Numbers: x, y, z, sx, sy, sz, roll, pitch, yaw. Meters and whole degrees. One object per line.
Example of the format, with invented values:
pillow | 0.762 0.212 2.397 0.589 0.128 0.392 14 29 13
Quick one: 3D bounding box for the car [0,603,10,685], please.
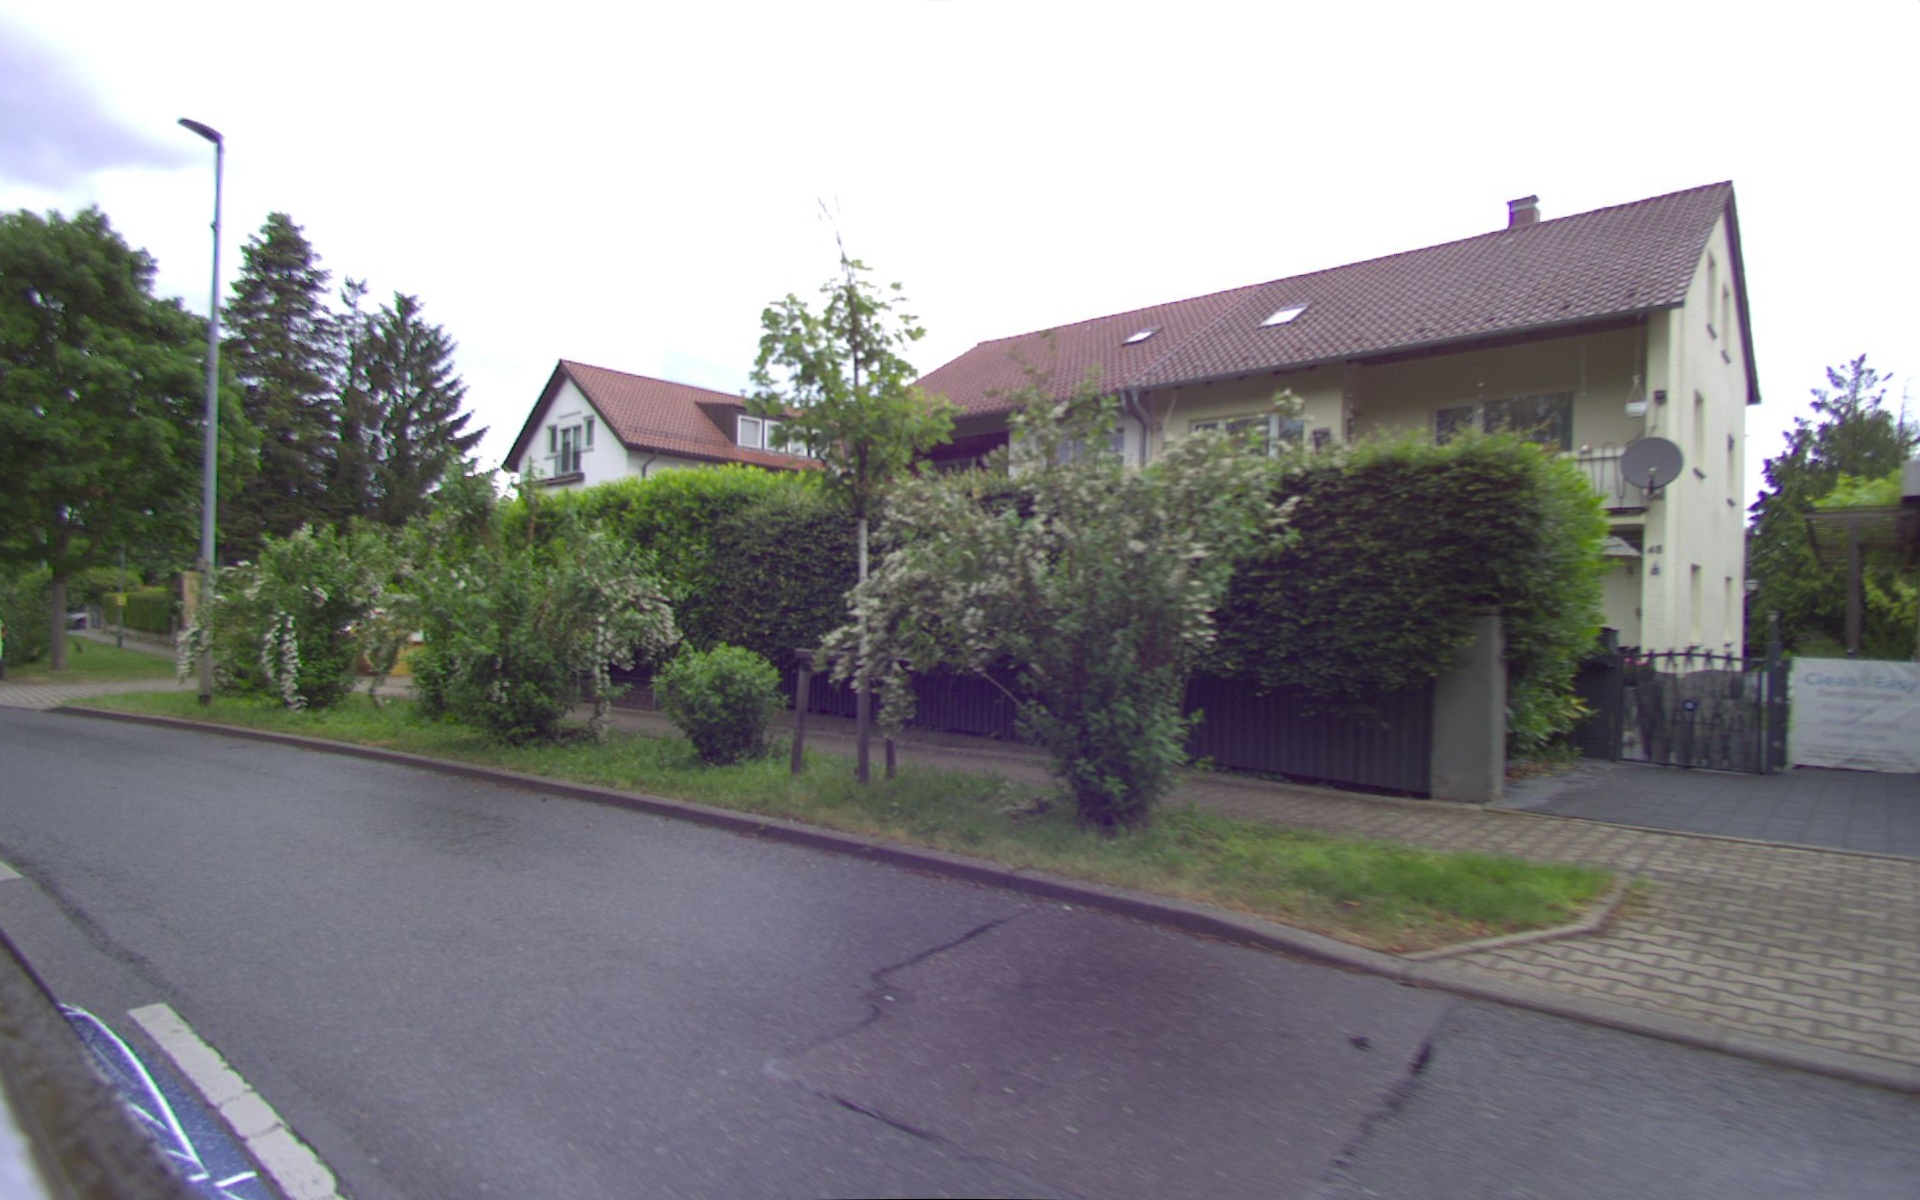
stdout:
car | -23.327 0.997 22.607 4.352 1.809 1.787 0 1 28
